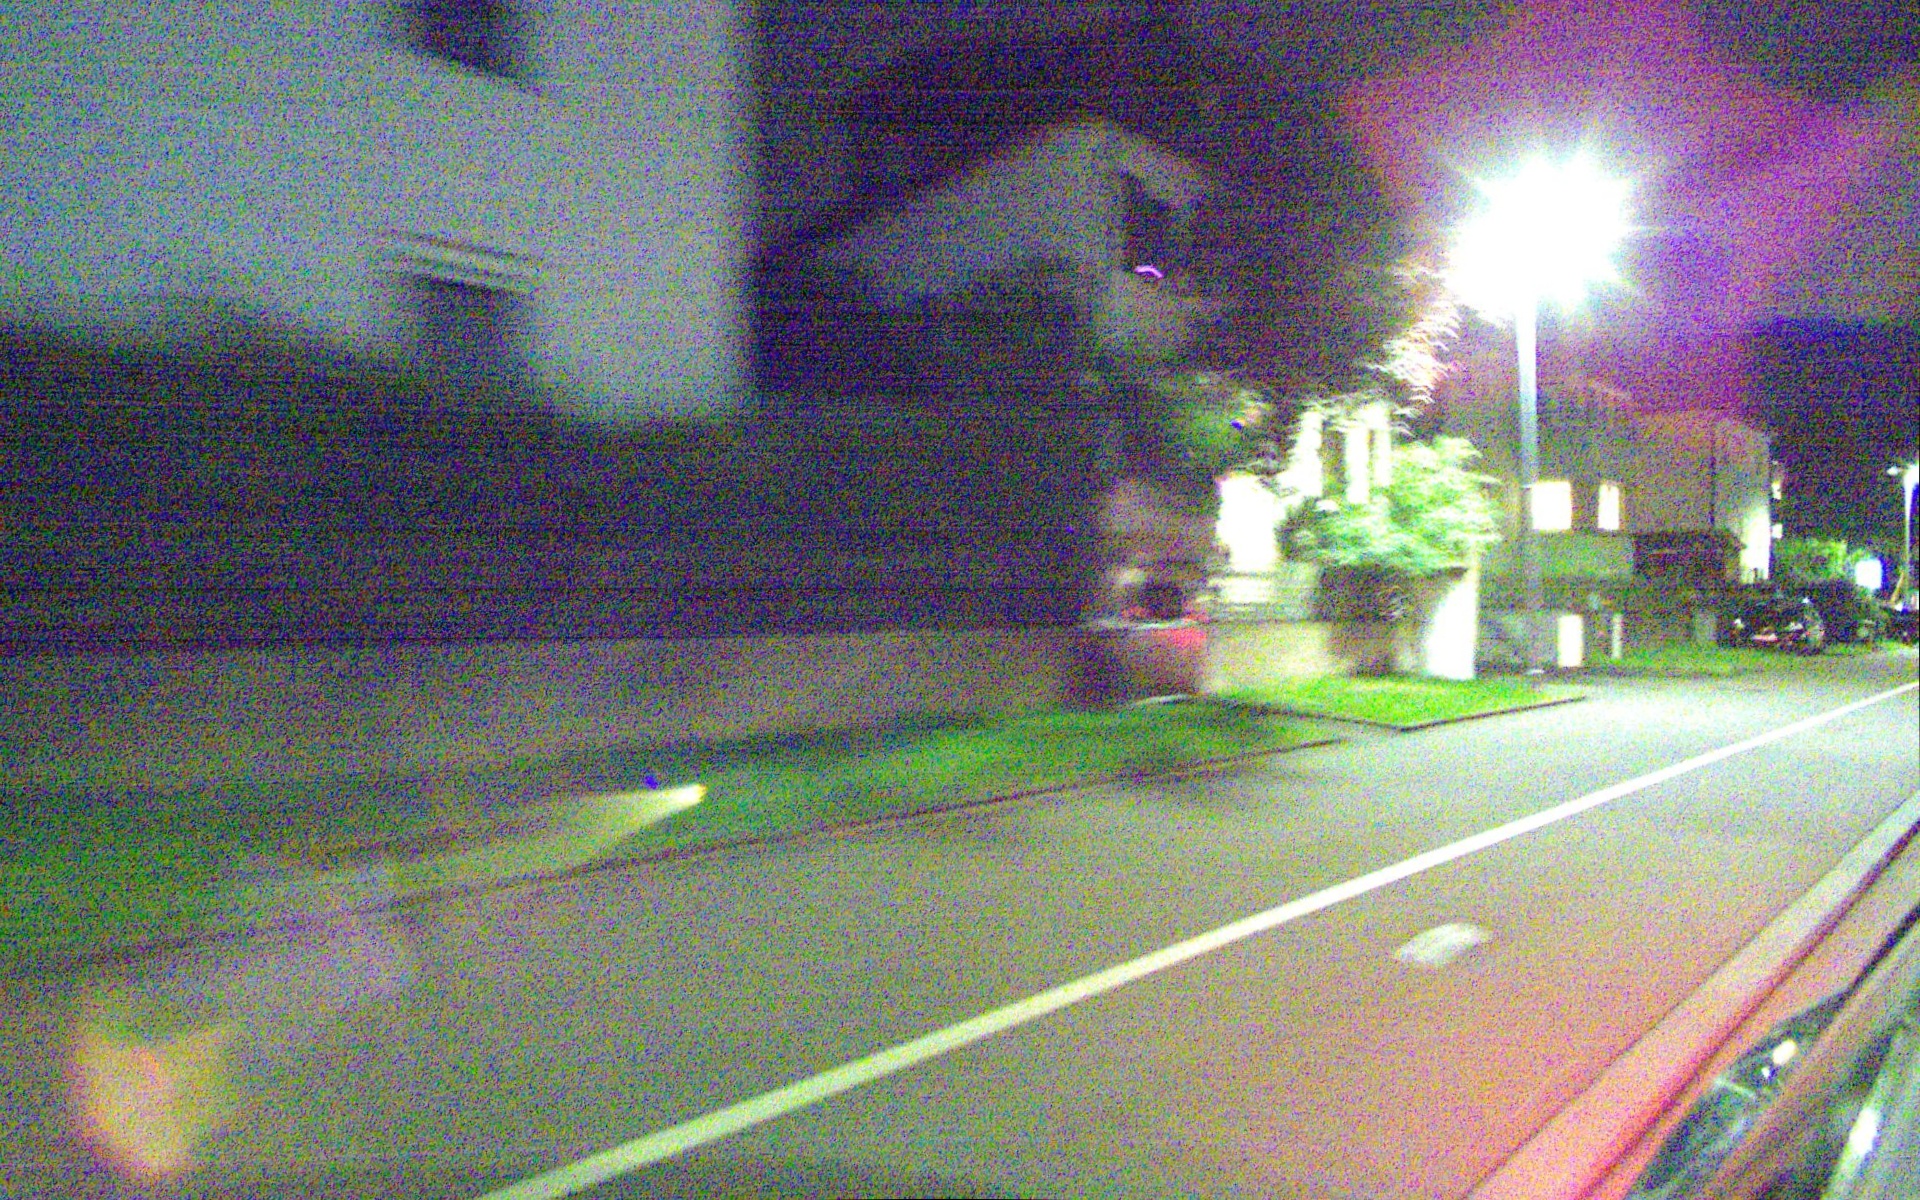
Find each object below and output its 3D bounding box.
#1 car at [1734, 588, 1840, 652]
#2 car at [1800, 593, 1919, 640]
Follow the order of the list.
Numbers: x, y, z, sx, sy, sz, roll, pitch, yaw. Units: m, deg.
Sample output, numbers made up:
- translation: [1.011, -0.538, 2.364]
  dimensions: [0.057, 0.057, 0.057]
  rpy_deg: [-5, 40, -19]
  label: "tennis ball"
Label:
- translation: [22.533, 0.499, 27.530]
  dimensions: [3.614, 1.579, 1.642]
  rpy_deg: [0, 1, -41]
  label: "car"
- translation: [32.599, 0.566, 36.007]
  dimensions: [1.800, 1.504, 3.913]
  rpy_deg: [0, 2, -40]
  label: "car"
